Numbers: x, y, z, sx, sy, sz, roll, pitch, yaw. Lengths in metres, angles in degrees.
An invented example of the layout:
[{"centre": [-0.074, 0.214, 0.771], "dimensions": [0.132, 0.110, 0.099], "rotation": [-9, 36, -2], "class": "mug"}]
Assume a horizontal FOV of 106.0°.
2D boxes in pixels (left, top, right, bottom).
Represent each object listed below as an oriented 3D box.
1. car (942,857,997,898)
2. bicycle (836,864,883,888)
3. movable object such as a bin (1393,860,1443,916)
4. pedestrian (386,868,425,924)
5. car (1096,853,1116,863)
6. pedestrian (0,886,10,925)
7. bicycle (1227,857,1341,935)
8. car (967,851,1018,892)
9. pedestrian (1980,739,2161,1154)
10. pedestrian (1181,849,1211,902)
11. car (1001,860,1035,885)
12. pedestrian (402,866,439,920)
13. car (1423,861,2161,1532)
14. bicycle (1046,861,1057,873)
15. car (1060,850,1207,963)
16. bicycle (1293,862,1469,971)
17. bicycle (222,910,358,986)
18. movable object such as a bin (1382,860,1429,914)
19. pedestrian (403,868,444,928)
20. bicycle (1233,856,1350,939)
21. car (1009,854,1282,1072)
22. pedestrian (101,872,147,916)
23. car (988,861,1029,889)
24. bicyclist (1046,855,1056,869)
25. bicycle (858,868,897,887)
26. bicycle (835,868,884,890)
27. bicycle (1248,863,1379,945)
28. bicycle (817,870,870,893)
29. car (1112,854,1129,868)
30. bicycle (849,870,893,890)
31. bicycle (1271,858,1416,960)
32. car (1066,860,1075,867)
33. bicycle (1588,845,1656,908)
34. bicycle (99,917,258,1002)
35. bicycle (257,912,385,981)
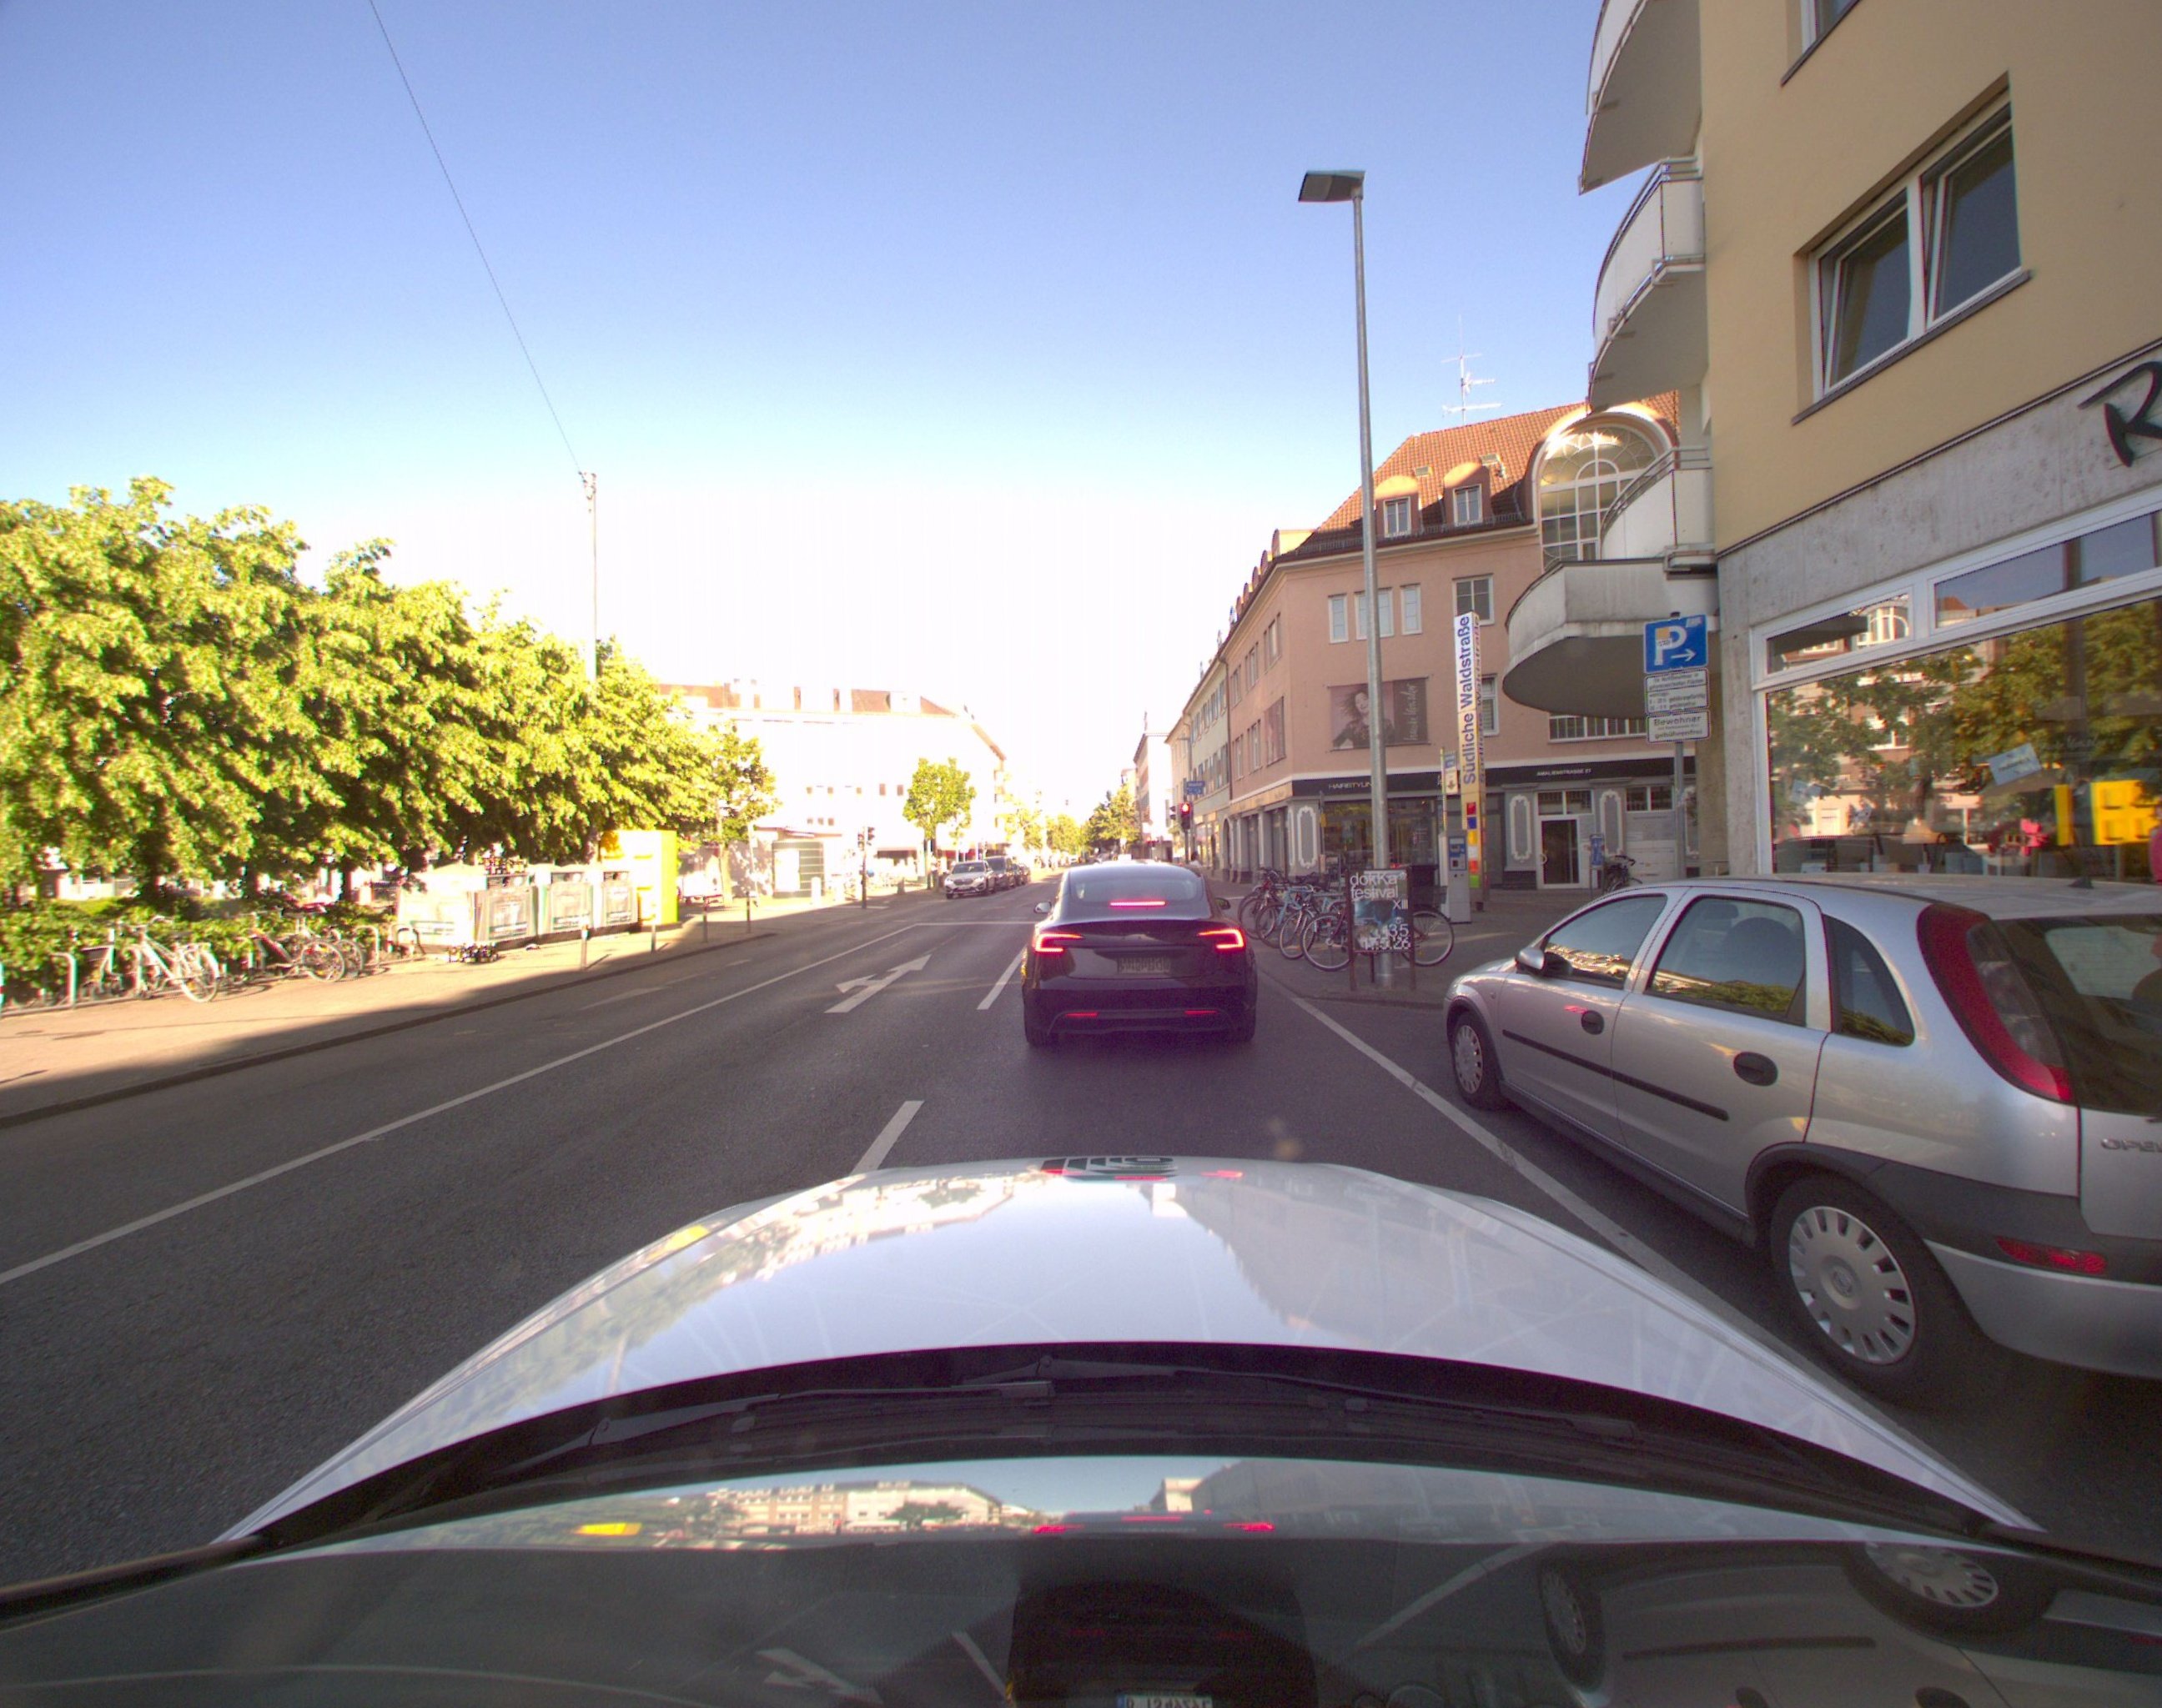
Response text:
[{"centre": [-4.939, 0.996, 36.627], "dimensions": [1.802, 1.555, 4.308], "rotation": [-5, 0, -1], "class": "car"}, {"centre": [-12.901, 1.248, 47.494], "dimensions": [2.472, 1.324, 0.921], "rotation": [-1, 0, -4], "class": "bicycle"}, {"centre": [6.748, 0.677, 16.340], "dimensions": [0.749, 1.092, 0.628], "rotation": [0, -1, 3], "class": "movable object such as a bin"}, {"centre": [-25.056, 1.523, 30.218], "dimensions": [0.980, 2.013, 0.910], "rotation": [-2, -1, 38], "class": "pedestrian"}, {"centre": [5.127, 0.849, 167.671], "dimensions": [3.974, 2.013, 2.000], "rotation": [-1, 0, 0], "class": "car"}, {"centre": [-56.540, 2.668, 42.190], "dimensions": [1.386, 2.013, 0.909], "rotation": [-1, 0, 21], "class": "pedestrian"}, {"centre": [3.626, 0.744, 14.711], "dimensions": [1.851, 1.258, 0.834], "rotation": [-3, -1, 7], "class": "bicycle"}, {"centre": [-4.564, 0.864, 42.856], "dimensions": [1.827, 1.845, 4.677], "rotation": [-5, 0, 2], "class": "car"}, {"centre": [5.078, 0.378, 3.667], "dimensions": [0.859, 1.784, 1.011], "rotation": [-4, -1, 10], "class": "pedestrian"}, {"centre": [3.419, 0.641, 24.329], "dimensions": [0.745, 1.552, 0.698], "rotation": [-1, 0, -2], "class": "pedestrian"}, {"centre": [-4.388, 1.261, 57.275], "dimensions": [1.988, 1.436, 4.672], "rotation": [-5, 0, -1], "class": "car"}, {"centre": [-25.373, 1.483, 31.277], "dimensions": [0.980, 2.013, 0.910], "rotation": [-2, -1, 38], "class": "pedestrian"}, {"centre": [2.974, 0.737, 3.521], "dimensions": [1.607, 1.382, 3.645], "rotation": [0, 0, 2], "class": "car"}, {"centre": [-3.472, 1.544, 95.785], "dimensions": [1.108, 1.344, 3.998], "rotation": [-1, 0, -1], "class": "bicycle"}, {"centre": [0.744, 0.728, 13.310], "dimensions": [1.987, 1.512, 4.175], "rotation": [-1, 0, 0], "class": "car"}, {"centre": [3.642, 0.757, 10.015], "dimensions": [1.876, 1.193, 0.693], "rotation": [-3, 0, 7], "class": "bicycle"}, {"centre": [-11.314, 1.337, 11.667], "dimensions": [1.561, 1.023, 0.430], "rotation": [-1, 0, 3], "class": "bicycle"}, {"centre": [6.757, 0.682, 16.978], "dimensions": [0.730, 1.092, 0.628], "rotation": [0, -1, 3], "class": "movable object such as a bin"}, {"centre": [-22.667, 1.488, 28.075], "dimensions": [0.980, 2.013, 0.910], "rotation": [-2, -1, 38], "class": "pedestrian"}, {"centre": [3.511, 0.716, 13.683], "dimensions": [1.738, 1.267, 0.782], "rotation": [-3, -1, 4], "class": "bicycle"}, {"centre": [0.503, 0.762, 7.603], "dimensions": [1.841, 1.455, 4.001], "rotation": [-1, 0, 2], "class": "car"}, {"centre": [-45.646, 1.895, 38.851], "dimensions": [1.272, 2.013, 0.908], "rotation": [-1, 0, 13], "class": "pedestrian"}, {"centre": [-4.357, 1.236, 49.678], "dimensions": [1.988, 1.410, 4.672], "rotation": [-5, 0, -1], "class": "car"}, {"centre": [-3.499, 0.929, 95.882], "dimensions": [1.123, 1.628, 0.965], "rotation": [-1, 0, -1], "class": "bicyclist"}, {"centre": [-13.160, 1.519, 52.688], "dimensions": [2.318, 1.156, 0.841], "rotation": [-1, 0, -4], "class": "bicycle"}, {"centre": [-12.371, 1.369, 45.547], "dimensions": [2.453, 1.156, 0.843], "rotation": [-1, 0, 0], "class": "bicycle"}, {"centre": [3.526, 0.759, 12.503], "dimensions": [1.788, 1.124, 0.783], "rotation": [-3, -1, 7], "class": "bicycle"}, {"centre": [-12.575, 1.442, 43.127], "dimensions": [2.497, 1.156, 0.843], "rotation": [-1, 0, 0], "class": "bicycle"}, {"centre": [4.862, 0.905, 100.816], "dimensions": [1.986, 1.629, 4.002], "rotation": [-1, 0, 2], "class": "car"}, {"centre": [-12.944, 1.575, 50.253], "dimensions": [2.528, 1.156, 0.841], "rotation": [-1, 0, -4], "class": "bicycle"}, {"centre": [3.546, 0.731, 11.150], "dimensions": [1.713, 1.268, 0.792], "rotation": [-3, -1, 7], "class": "bicycle"}, {"centre": [-2.479, 2.161, 187.368], "dimensions": [1.988, 1.637, 3.998], "rotation": [-1, 0, -1], "class": "car"}, {"centre": [11.071, 0.440, 16.726], "dimensions": [0.653, 1.199, 2.223], "rotation": [-2, 0, 21], "class": "bicycle"}, {"centre": [-11.450, 1.333, 10.348], "dimensions": [1.590, 1.018, 0.430], "rotation": [-1, 0, 3], "class": "bicycle"}, {"centre": [-11.370, 1.373, 12.198], "dimensions": [1.517, 0.958, 0.431], "rotation": [-1, 1, 3], "class": "bicycle"}]
